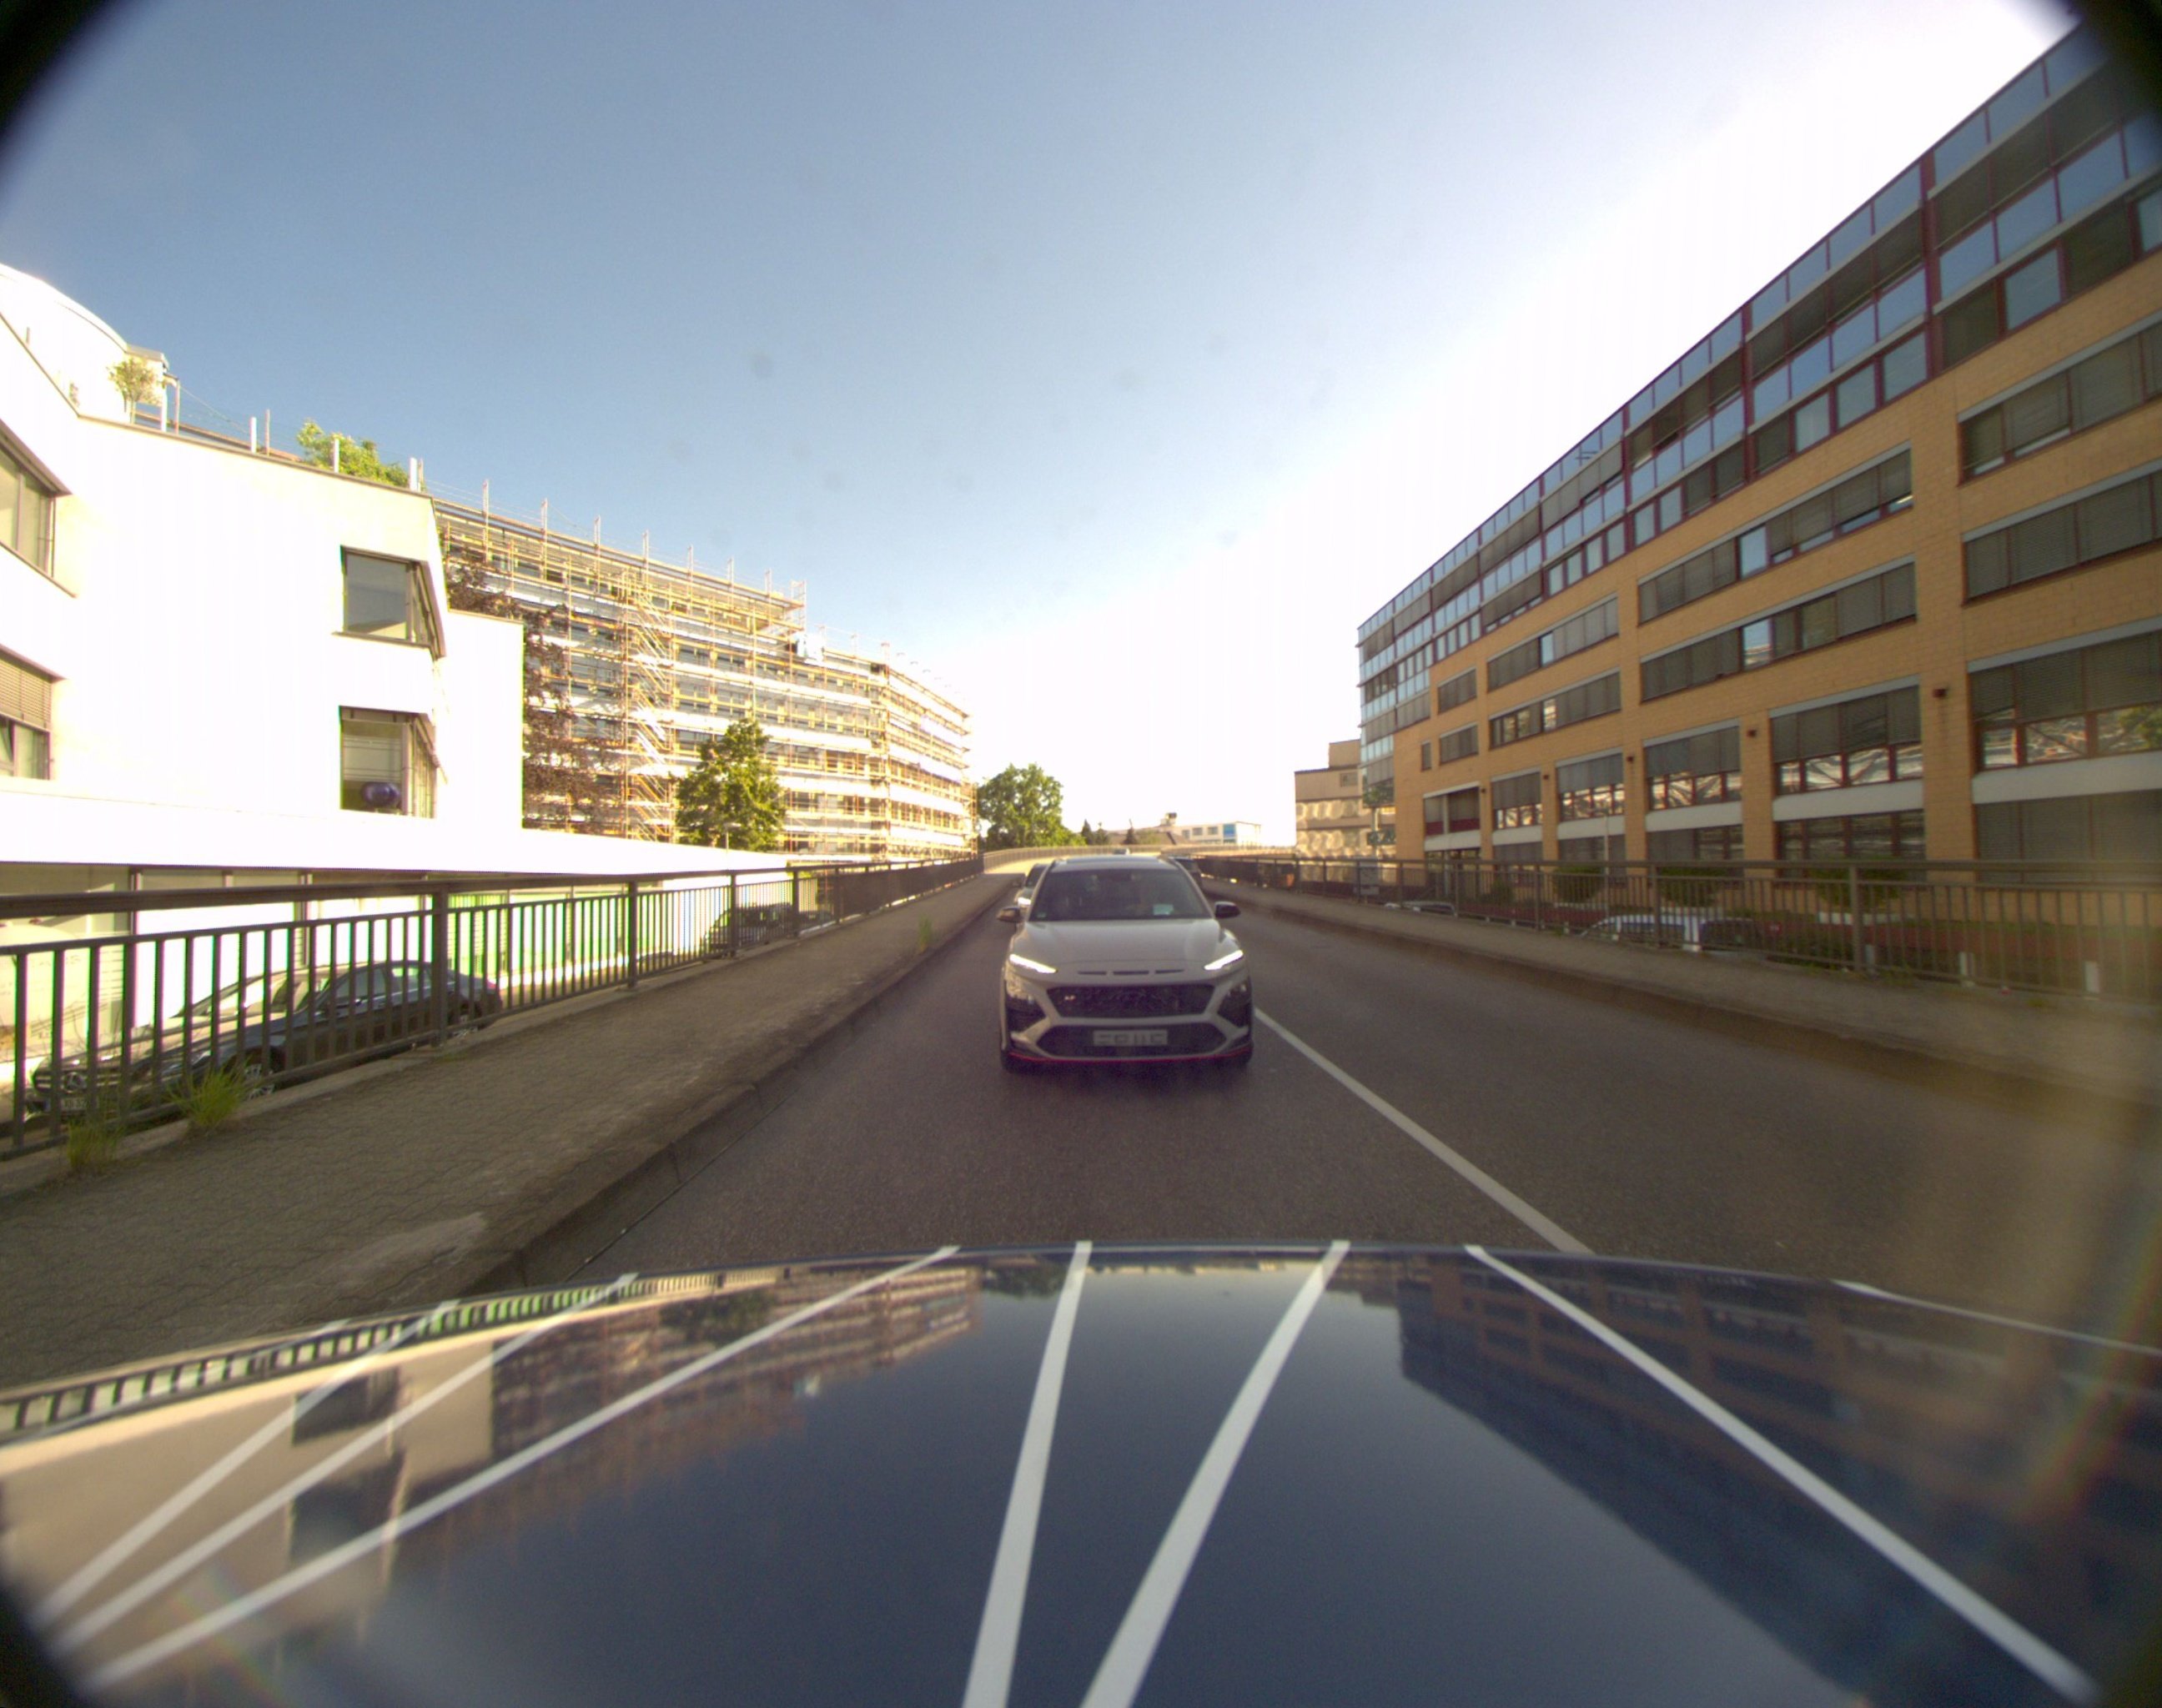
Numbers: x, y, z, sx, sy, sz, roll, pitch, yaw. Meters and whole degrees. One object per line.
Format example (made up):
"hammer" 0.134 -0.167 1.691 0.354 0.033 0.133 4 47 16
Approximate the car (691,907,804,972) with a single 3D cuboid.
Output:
"car" -10.068 2.533 23.276 1.726 1.513 4.000 -2 -1 -1

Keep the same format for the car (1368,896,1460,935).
"car" 12.537 2.289 28.867 1.766 1.261 3.809 0 -1 -1

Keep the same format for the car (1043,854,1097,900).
"car" -0.440 0.880 30.503 1.952 1.456 3.998 3 2 -1

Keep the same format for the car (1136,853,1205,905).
"car" 3.056 0.812 26.682 1.809 1.614 3.999 2 1 -2

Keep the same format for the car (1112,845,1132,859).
"car" 4.183 -0.161 77.454 1.745 1.399 4.203 0 0 6

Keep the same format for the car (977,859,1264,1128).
"car" 0.254 0.885 6.644 1.749 1.637 4.001 0 -1 0

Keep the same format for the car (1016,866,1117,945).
"car" -0.337 1.015 16.531 1.902 1.433 4.126 0 0 -2

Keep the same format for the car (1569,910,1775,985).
"car" 12.944 1.998 16.964 1.580 1.261 3.809 0 -1 -1

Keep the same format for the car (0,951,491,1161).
"car" -9.639 2.187 9.269 1.726 1.513 4.001 -2 -1 0

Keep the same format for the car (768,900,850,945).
"car" -10.298 2.557 29.062 1.726 1.383 4.000 -2 -1 -1

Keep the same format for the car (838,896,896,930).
"car" -10.492 2.877 37.520 1.726 1.383 4.000 -2 -1 -1
